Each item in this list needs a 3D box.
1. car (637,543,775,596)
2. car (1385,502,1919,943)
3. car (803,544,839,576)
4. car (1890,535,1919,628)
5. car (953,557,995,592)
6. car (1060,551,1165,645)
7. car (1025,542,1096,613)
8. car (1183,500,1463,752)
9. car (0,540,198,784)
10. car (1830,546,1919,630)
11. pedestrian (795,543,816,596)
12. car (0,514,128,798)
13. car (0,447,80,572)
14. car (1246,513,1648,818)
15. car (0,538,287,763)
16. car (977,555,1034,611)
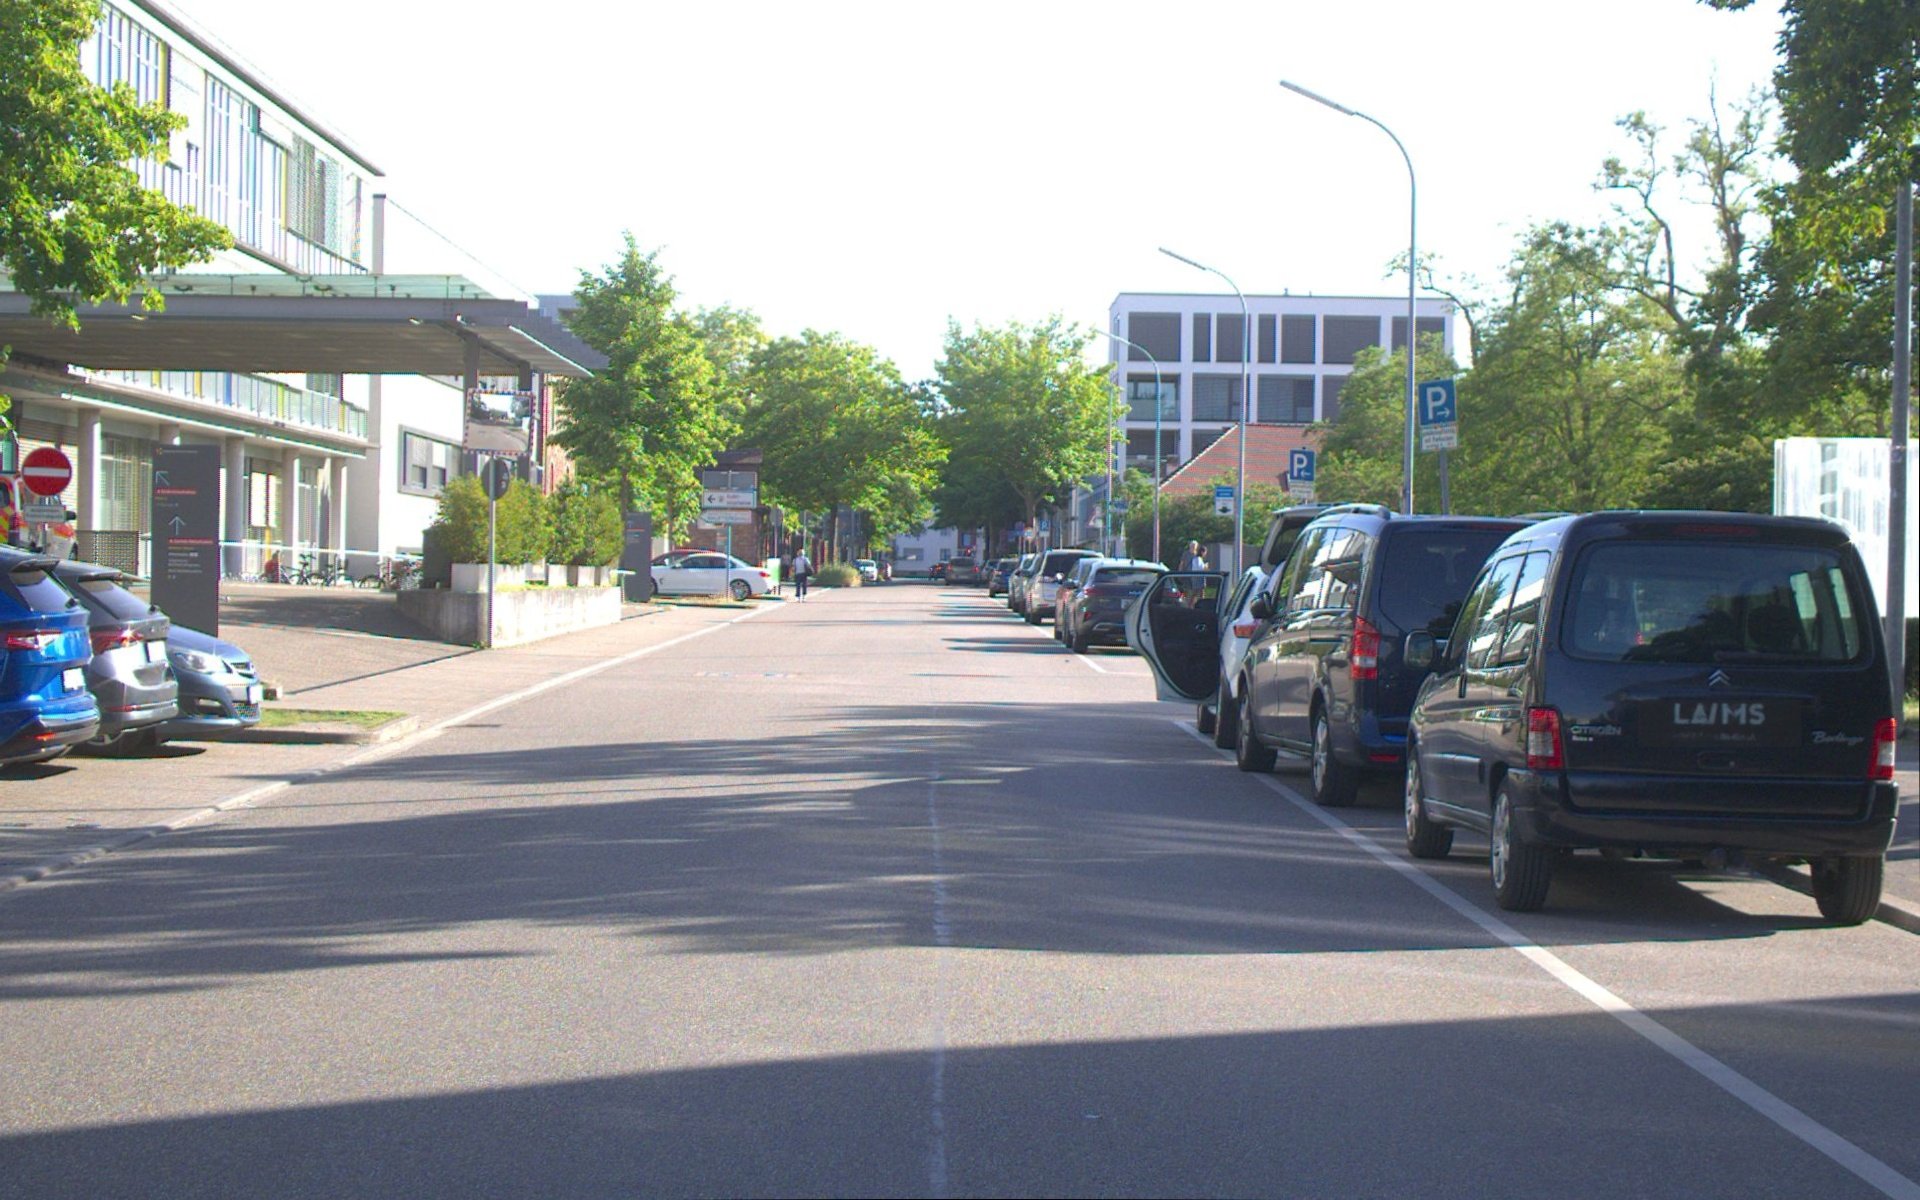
[{"bbox_3d":[-7.652,-0.916,103.878,3.987,1.514,2.000,1,0,0],"label":"car"},{"bbox_3d":[3.155,0.485,16.380,1.733,1.824,3.905,1,1,0],"label":"car"},{"bbox_3d":[-6.878,-1.983,170.274,1.727,1.531,4.000,1,1,-2],"label":"car"},{"bbox_3d":[22.562,-0.360,74.884,3.986,2.007,2.000,1,0,-5],"label":"car"},{"bbox_3d":[0.676,-1.285,171.384,1.891,1.675,4.000,1,1,-2],"label":"car"},{"bbox_3d":[2.461,-0.056,55.942,1.497,1.474,3.650,0,1,-1],"label":"car"},{"bbox_3d":[2.245,-0.527,77.496,1.436,1.555,3.042,1,1,-1],"label":"car"},{"bbox_3d":[2.971,0.170,28.866,1.874,1.971,4.000,0,1,-1],"label":"car"},{"bbox_3d":[-7.213,0.375,22.707,3.986,1.546,2.000,0,1,-3],"label":"car"},{"bbox_3d":[23.727,-0.277,84.696,3.986,2.007,2.000,1,0,-2],"label":"car"},{"bbox_3d":[-4.711,-0.935,104.634,0.618,1.618,0.716,0,1,-1],"label":"pedestrian"},{"bbox_3d":[-7.242,0.229,20.313,4.213,1.597,1.872,2,1,-4],"label":"car"},{"bbox_3d":[-16.615,-1.533,58.996,1.993,2.007,4.000,1,0,-1],"label":"car"},{"bbox_3d":[3.084,0.359,22.620,1.993,1.816,4.199,0,1,-1],"label":"car"},{"bbox_3d":[-7.100,0.324,25.216,3.986,1.546,2.000,1,1,-3],"label":"car"},{"bbox_3d":[1.707,-0.621,129.173,1.993,2.007,4.000,1,0,-1],"label":"car"}]
